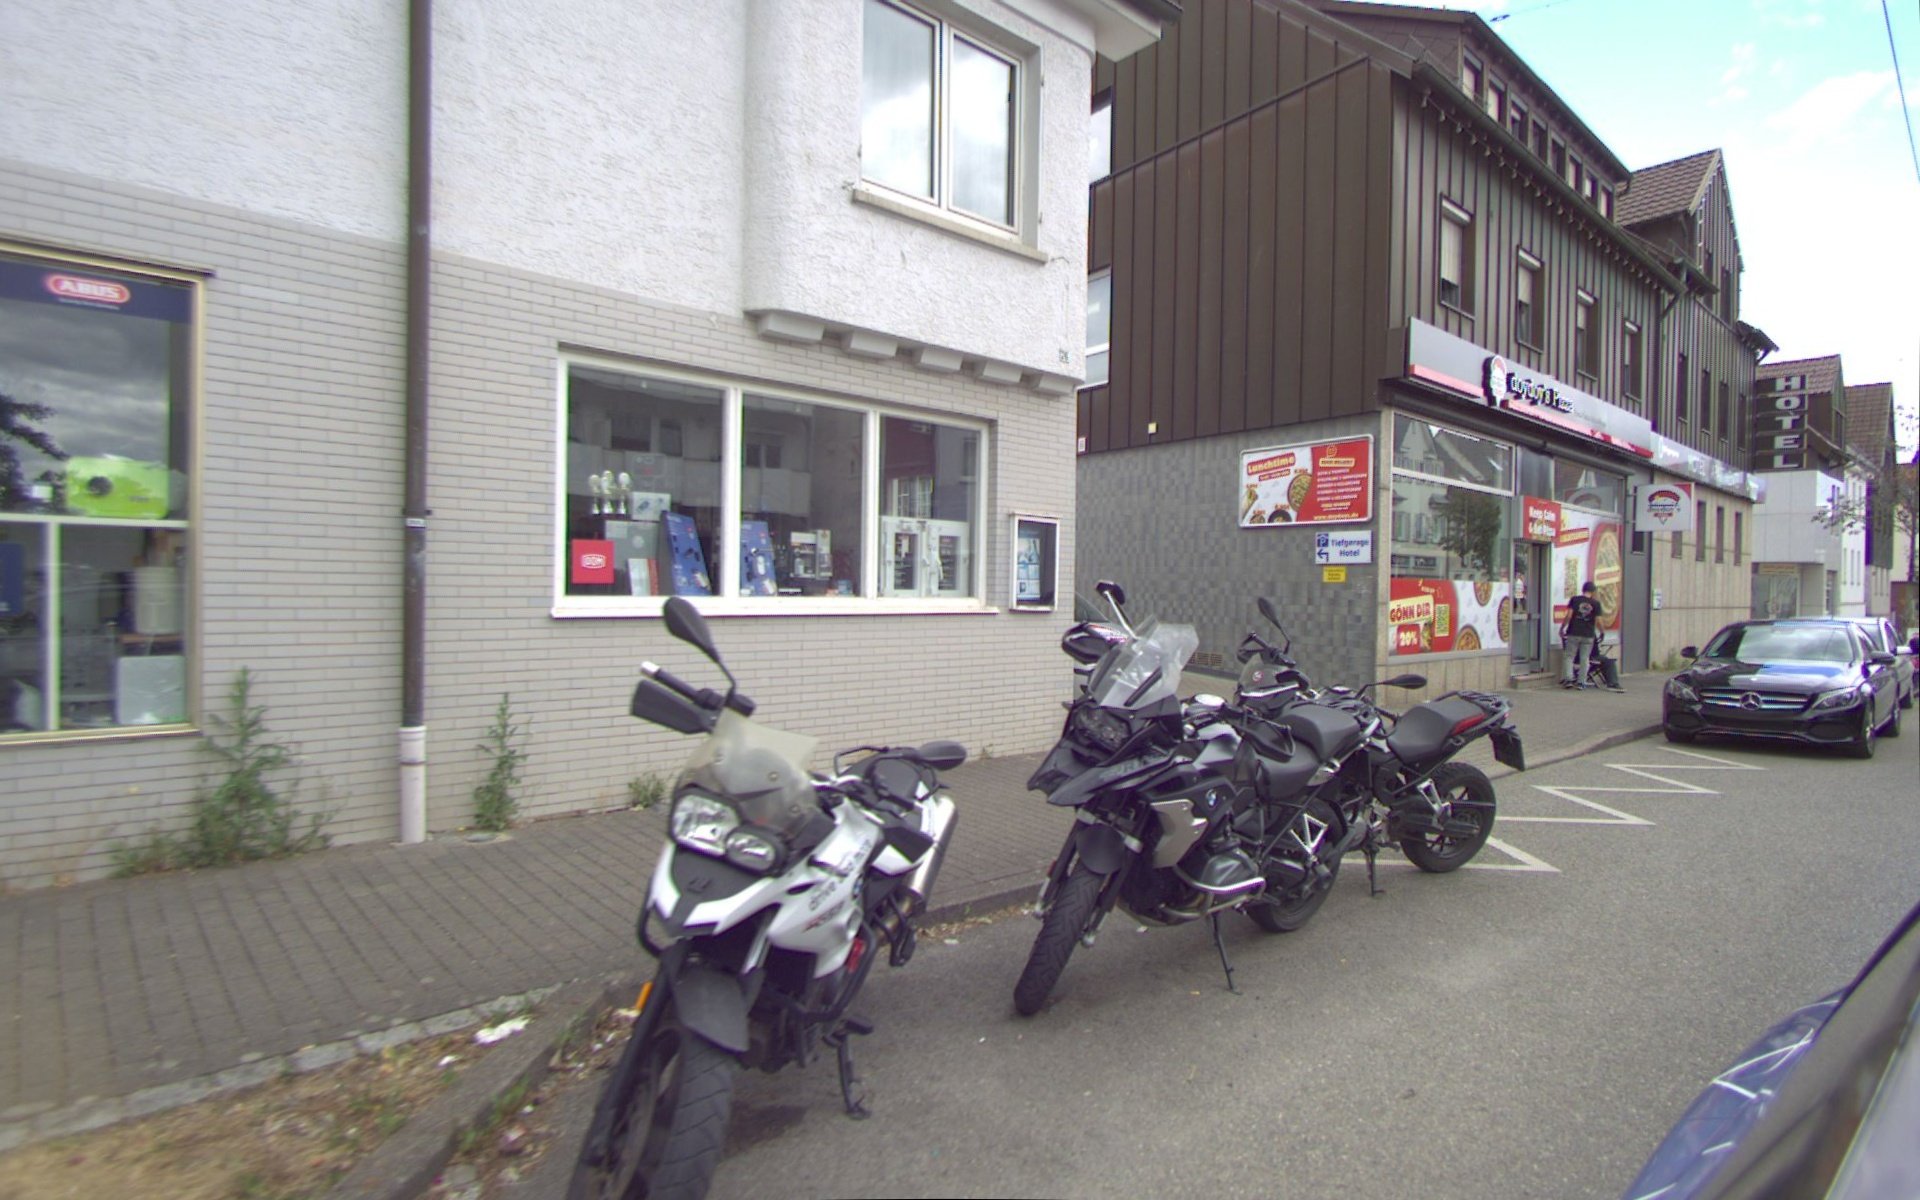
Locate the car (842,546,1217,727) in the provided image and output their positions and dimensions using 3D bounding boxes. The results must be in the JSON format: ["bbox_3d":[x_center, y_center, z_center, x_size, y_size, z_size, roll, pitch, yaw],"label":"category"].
[{"bbox_3d":[0.609,0.254,11.610,1.823,1.607,4.207,0,3,-41],"label":"car"}]

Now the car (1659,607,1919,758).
[{"bbox_3d":[10.004,0.815,12.048,4.487,1.426,1.827,0,0,-42],"label":"car"}]

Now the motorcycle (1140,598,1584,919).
[{"bbox_3d":[2.165,0.721,5.366,2.418,1.458,0.651,0,0,-22],"label":"motorcycle"}]

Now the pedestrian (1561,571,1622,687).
[{"bbox_3d":[10.001,0.436,16.033,0.642,1.762,0.731,2,1,43],"label":"pedestrian"}]

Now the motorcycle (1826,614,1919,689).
[{"bbox_3d":[16.956,0.926,18.363,1.841,1.308,0.530,0,0,11],"label":"motorcycle"}]

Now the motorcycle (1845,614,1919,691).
[{"bbox_3d":[16.436,0.901,17.539,1.566,1.308,0.498,0,0,20],"label":"motorcycle"}]

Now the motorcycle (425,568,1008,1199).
[{"bbox_3d":[-0.409,0.639,2.915,0.764,1.399,2.235,0,0,12],"label":"motorcycle"}]

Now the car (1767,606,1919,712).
[{"bbox_3d":[14.276,0.841,16.131,3.836,1.460,1.642,0,0,-42],"label":"car"}]

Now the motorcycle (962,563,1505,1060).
[{"bbox_3d":[1.242,0.655,4.154,2.548,1.544,0.673,0,0,-35],"label":"motorcycle"}]

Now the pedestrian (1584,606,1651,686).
[{"bbox_3d":[10.686,0.733,16.444,0.633,1.226,0.741,0,2,-42],"label":"pedestrian"}]
